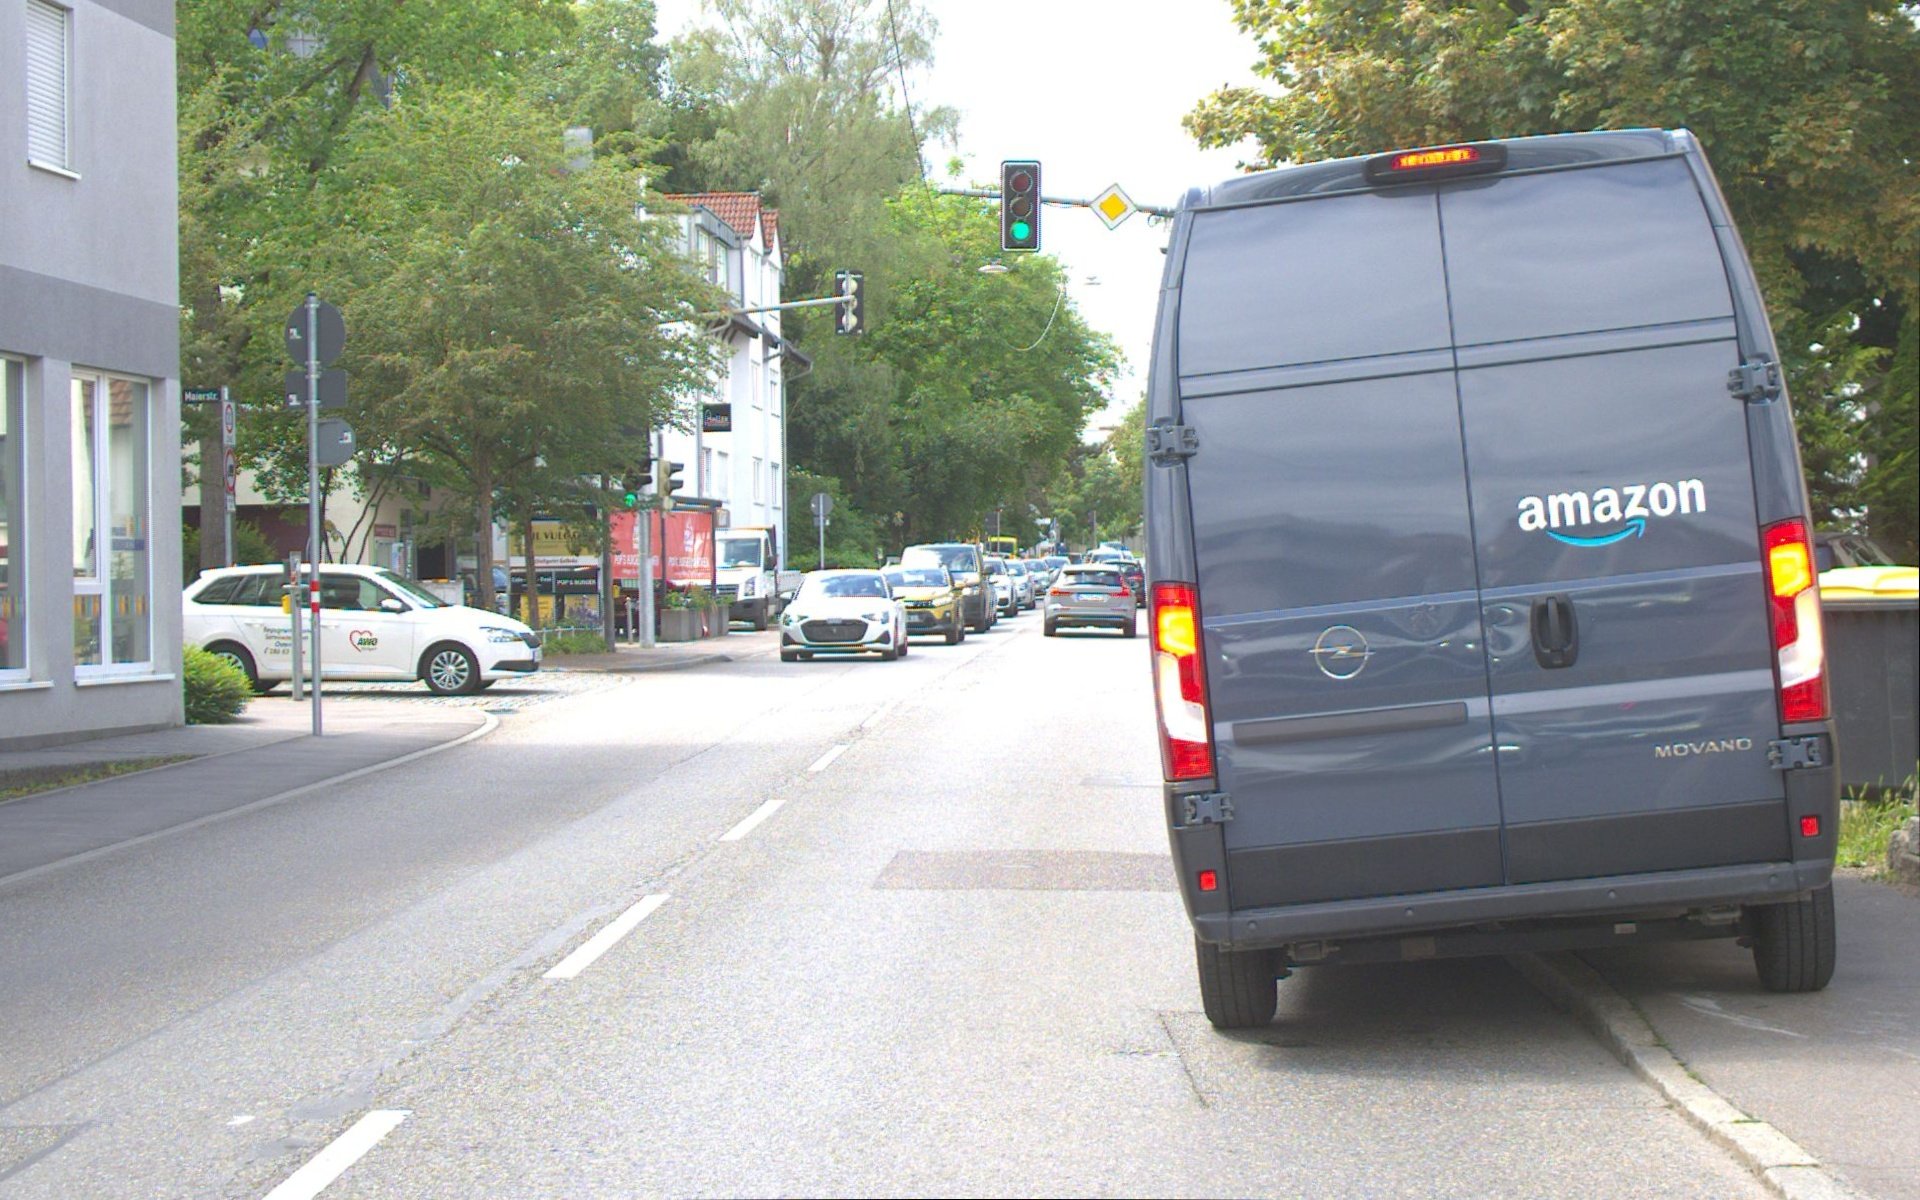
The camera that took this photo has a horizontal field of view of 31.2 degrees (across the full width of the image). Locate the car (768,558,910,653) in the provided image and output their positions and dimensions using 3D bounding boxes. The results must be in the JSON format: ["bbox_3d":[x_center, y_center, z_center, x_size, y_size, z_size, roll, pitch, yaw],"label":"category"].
[{"bbox_3d":[-1.852,0.063,53.901,1.874,1.419,4.115,0,1,3],"label":"car"}]

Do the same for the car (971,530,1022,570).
[{"bbox_3d":[1.898,-2.548,175.661,2.146,1.974,4.929,0,0,6],"label":"car"}]

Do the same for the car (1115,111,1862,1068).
[{"bbox_3d":[1.771,-0.068,13.120,2.148,2.761,6.248,0,1,4],"label":"car"}]

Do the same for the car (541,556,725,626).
[{"bbox_3d":[-6.844,-0.195,72.193,3.692,1.420,1.805,0,1,0],"label":"car"}]

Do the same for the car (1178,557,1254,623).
[{"bbox_3d":[6.062,-0.262,81.793,1.701,1.475,4.872,1,1,4],"label":"car"}]

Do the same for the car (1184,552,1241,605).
[{"bbox_3d":[7.445,-0.652,101.492,1.622,1.502,3.779,0,1,3],"label":"car"}]

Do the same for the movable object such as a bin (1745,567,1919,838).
[{"bbox_3d":[4.732,0.474,16.933,1.182,1.261,1.210,-1,1,-28],"label":"movable object such as a bin"}]

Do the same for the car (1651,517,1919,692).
[{"bbox_3d":[8.514,0.009,34.979,1.754,1.512,4.073,-4,1,28],"label":"car"}]

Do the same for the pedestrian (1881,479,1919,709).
[{"bbox_3d":[7.609,-0.053,26.857,0.741,1.776,0.899,0,1,19],"label":"pedestrian"}]

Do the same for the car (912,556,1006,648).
[{"bbox_3d":[0.006,0.004,74.100,1.877,1.906,4.751,0,1,2],"label":"car"}]

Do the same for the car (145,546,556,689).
[{"bbox_3d":[-6.763,0.178,38.427,4.212,1.508,1.822,0,2,3],"label":"car"}]

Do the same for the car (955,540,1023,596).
[{"bbox_3d":[0.855,-0.949,99.659,1.728,1.497,4.376,-2,1,3],"label":"car"}]

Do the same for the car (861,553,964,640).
[{"bbox_3d":[-0.864,-0.095,64.518,1.728,1.532,4.000,0,1,2],"label":"car"}]

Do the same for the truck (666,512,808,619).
[{"bbox_3d":[-5.087,-0.775,79.511,2.225,2.372,6.324,0,0,6],"label":"truck"}]
